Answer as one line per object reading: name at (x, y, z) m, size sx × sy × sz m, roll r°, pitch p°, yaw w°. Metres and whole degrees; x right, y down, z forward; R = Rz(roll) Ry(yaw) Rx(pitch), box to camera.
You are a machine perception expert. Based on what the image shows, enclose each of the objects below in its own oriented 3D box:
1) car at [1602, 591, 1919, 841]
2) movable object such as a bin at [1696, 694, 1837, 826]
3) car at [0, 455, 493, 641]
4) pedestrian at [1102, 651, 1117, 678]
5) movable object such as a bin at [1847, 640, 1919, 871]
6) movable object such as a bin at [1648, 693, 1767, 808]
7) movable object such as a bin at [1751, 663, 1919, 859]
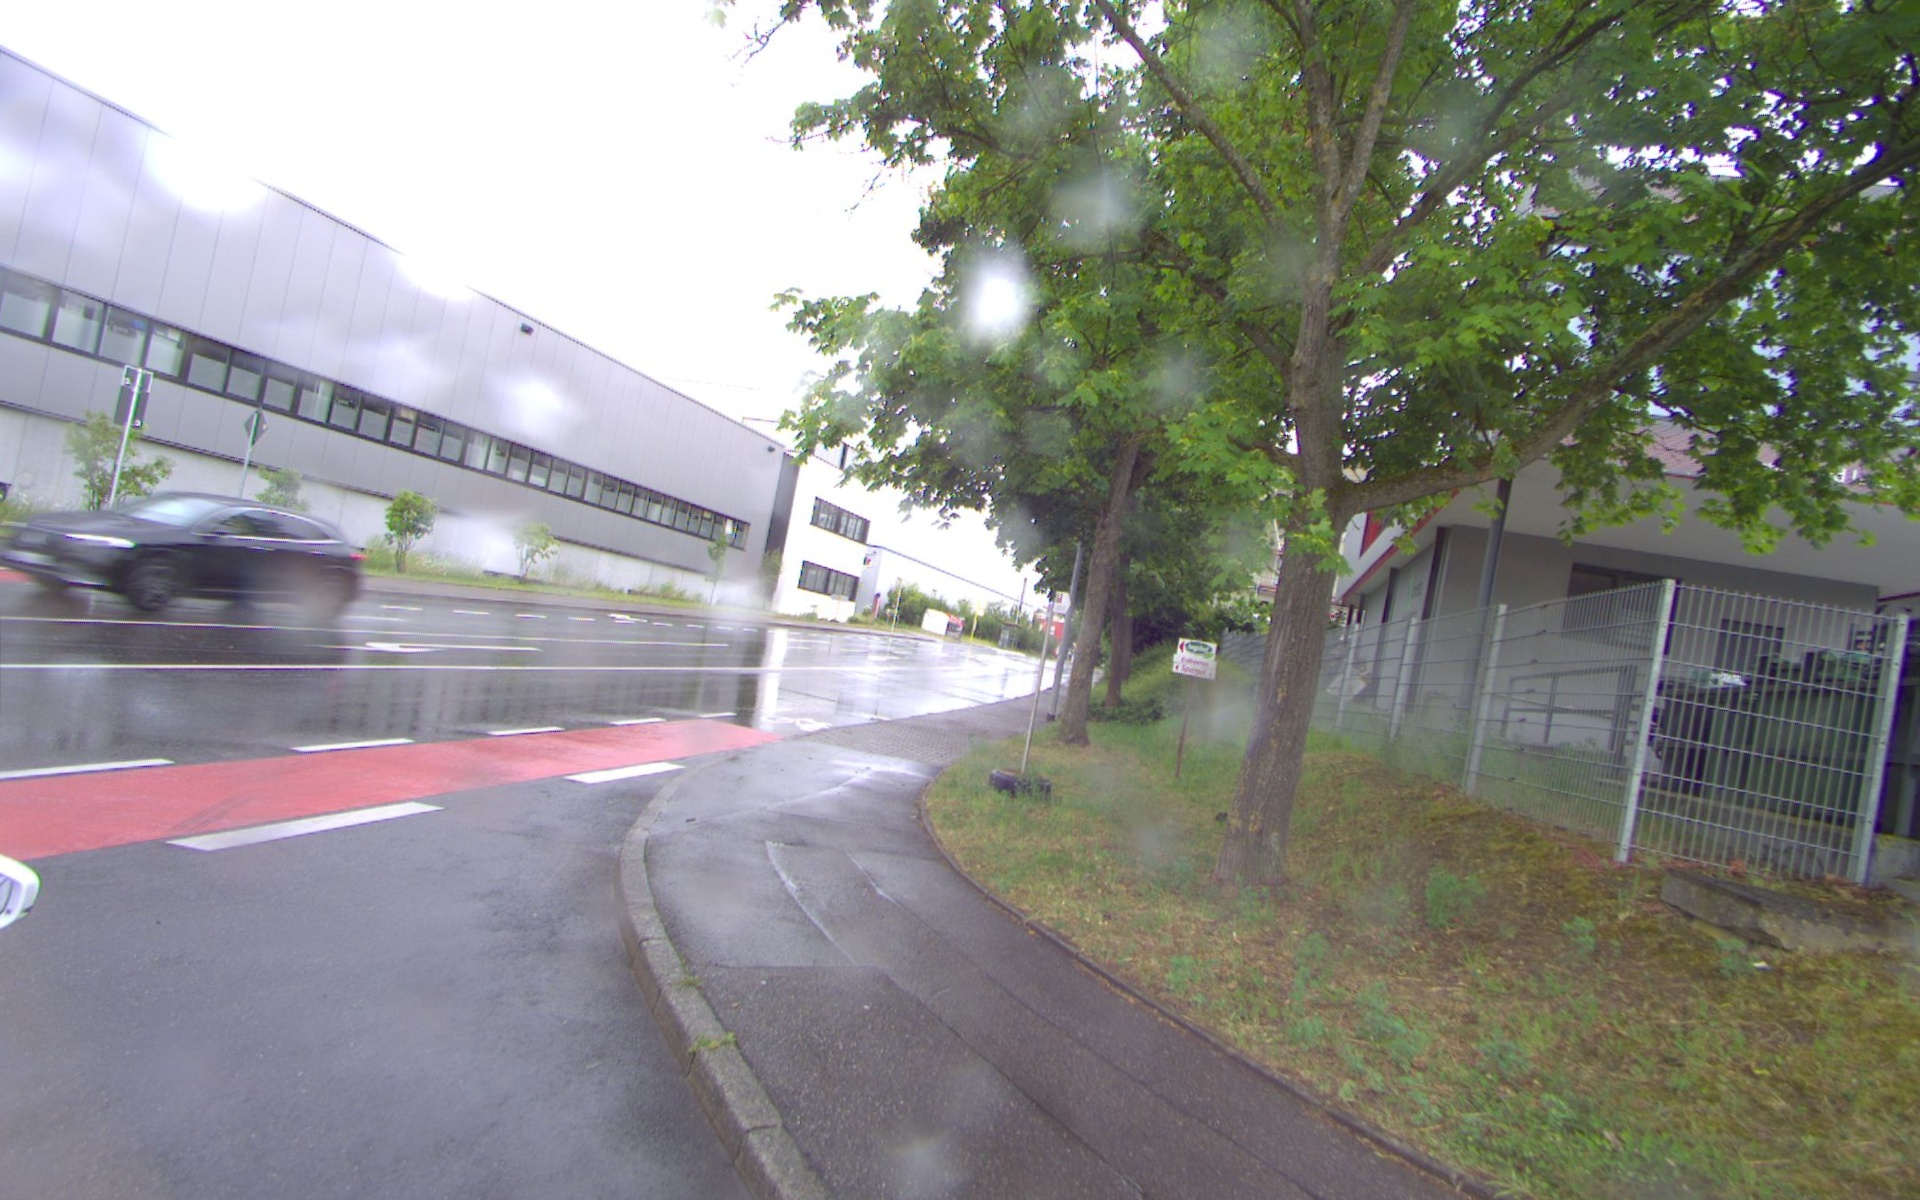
car at (9.607, 1.321, 9.982) m, size 4.844 × 2.037 × 2.066 m, roll 8°, pitch -1°, yaw 12°
movable object such as a bin at (5.866, 1.147, 7.347) m, size 0.529 × 0.827 × 0.567 m, roll 8°, pitch -1°, yaw 14°
car at (-10.686, -0.565, 15.609) m, size 2.317 × 1.836 × 6.887 m, roll 9°, pitch -2°, yaw 13°
pedestrian at (11.155, 4.824, 74.976) m, size 0.764 × 1.928 × 0.730 m, roll 8°, pitch -2°, yaw 12°
movable object such as a bin at (5.382, 0.845, 4.943) m, size 1.007 × 1.175 × 1.144 m, roll 8°, pitch -1°, yaw 14°
movable object such as a bin at (6.065, 1.208, 8.184) m, size 0.529 × 0.811 × 0.524 m, roll 8°, pitch -1°, yaw 14°
movable object such as a bin at (5.645, 0.977, 6.117) m, size 0.867 × 1.054 × 1.054 m, roll 8°, pitch -1°, yaw 16°
